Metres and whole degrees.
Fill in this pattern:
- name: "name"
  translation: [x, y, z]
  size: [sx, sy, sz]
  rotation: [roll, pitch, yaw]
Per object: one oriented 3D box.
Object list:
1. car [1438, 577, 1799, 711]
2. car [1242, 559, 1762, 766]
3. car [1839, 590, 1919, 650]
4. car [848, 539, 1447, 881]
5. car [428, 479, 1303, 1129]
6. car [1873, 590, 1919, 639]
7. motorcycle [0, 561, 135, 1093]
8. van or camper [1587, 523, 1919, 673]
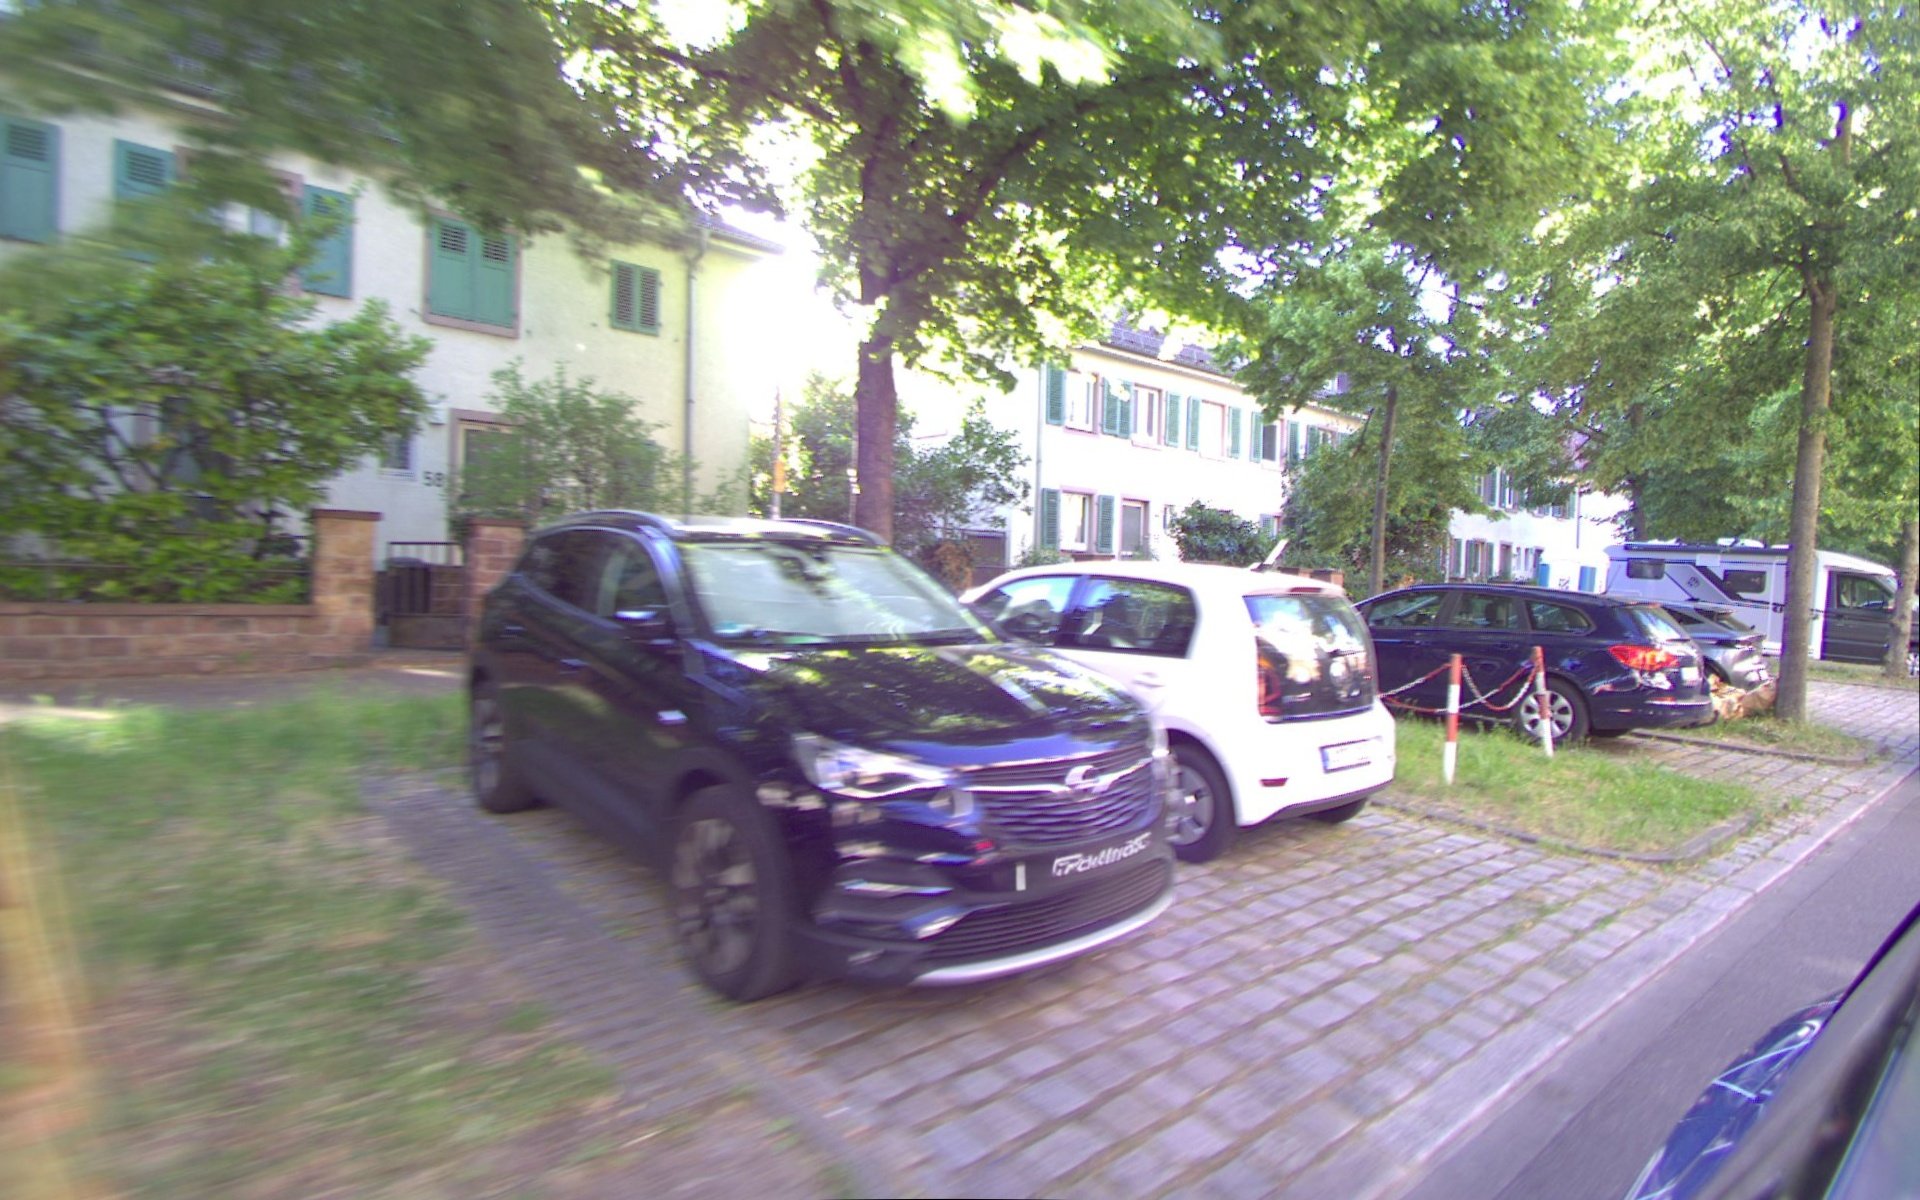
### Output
- name: "car"
  translation: [9.337, 0.496, 14.575]
  size: [1.967, 1.537, 3.992]
  rotation: [-1, 3, -43]
- name: "car"
  translation: [5.424, 0.459, 10.711]
  size: [1.721, 1.495, 4.471]
  rotation: [1, 4, -39]
- name: "car"
  translation: [31.118, 0.677, 32.547]
  size: [1.964, 1.836, 3.996]
  rotation: [1, 2, -40]
- name: "car"
  translation: [0.962, 0.428, 6.478]
  size: [1.664, 1.493, 3.456]
  rotation: [1, 3, -40]
- name: "car"
  translation: [-0.892, 0.354, 4.773]
  size: [1.895, 1.627, 4.342]
  rotation: [0, 4, -41]
- name: "car"
  translation: [38.845, 0.630, 39.763]
  size: [1.960, 1.905, 4.004]
  rotation: [1, 2, -31]
- name: "motorcycle"
  translation: [-2.596, 0.528, 1.789]
  size: [0.725, 1.212, 1.774]
  rotation: [2, 2, 5]
- name: "van or camper"
  translation: [18.373, -0.162, 22.351]
  size: [2.385, 2.939, 7.264]
  rotation: [-1, 3, -40]
